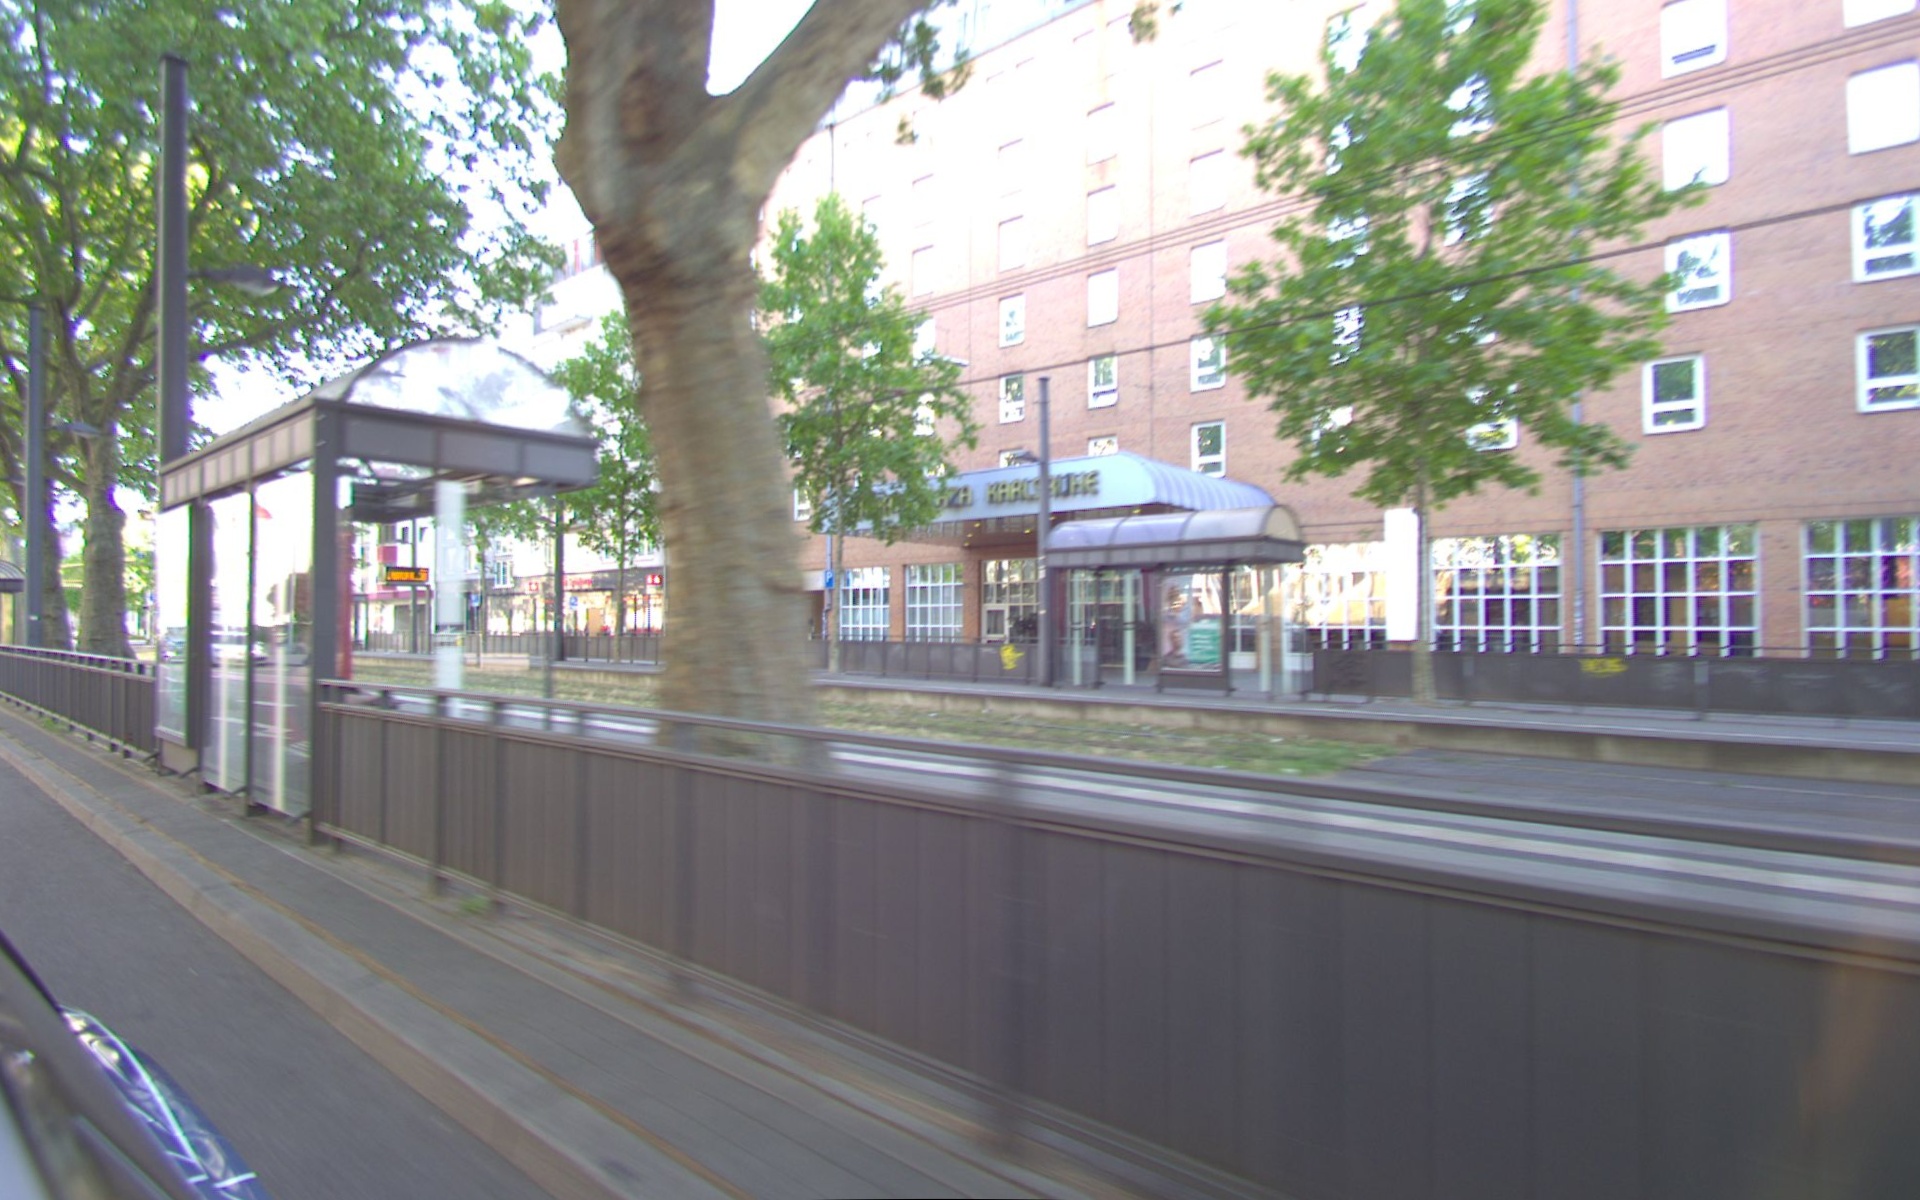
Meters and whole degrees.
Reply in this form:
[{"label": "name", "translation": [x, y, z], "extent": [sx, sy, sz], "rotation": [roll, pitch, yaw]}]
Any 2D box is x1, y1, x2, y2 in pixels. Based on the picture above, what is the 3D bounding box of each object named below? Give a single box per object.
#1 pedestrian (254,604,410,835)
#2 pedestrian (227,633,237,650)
[{"label": "pedestrian", "translation": [-4.119, 0.729, 6.642], "extent": [0.640, 1.398, 0.726], "rotation": [-1, 0, 43]}, {"label": "pedestrian", "translation": [-74.015, 4.181, 102.946], "extent": [0.594, 1.717, 0.670], "rotation": [-1, 0, -10]}]
